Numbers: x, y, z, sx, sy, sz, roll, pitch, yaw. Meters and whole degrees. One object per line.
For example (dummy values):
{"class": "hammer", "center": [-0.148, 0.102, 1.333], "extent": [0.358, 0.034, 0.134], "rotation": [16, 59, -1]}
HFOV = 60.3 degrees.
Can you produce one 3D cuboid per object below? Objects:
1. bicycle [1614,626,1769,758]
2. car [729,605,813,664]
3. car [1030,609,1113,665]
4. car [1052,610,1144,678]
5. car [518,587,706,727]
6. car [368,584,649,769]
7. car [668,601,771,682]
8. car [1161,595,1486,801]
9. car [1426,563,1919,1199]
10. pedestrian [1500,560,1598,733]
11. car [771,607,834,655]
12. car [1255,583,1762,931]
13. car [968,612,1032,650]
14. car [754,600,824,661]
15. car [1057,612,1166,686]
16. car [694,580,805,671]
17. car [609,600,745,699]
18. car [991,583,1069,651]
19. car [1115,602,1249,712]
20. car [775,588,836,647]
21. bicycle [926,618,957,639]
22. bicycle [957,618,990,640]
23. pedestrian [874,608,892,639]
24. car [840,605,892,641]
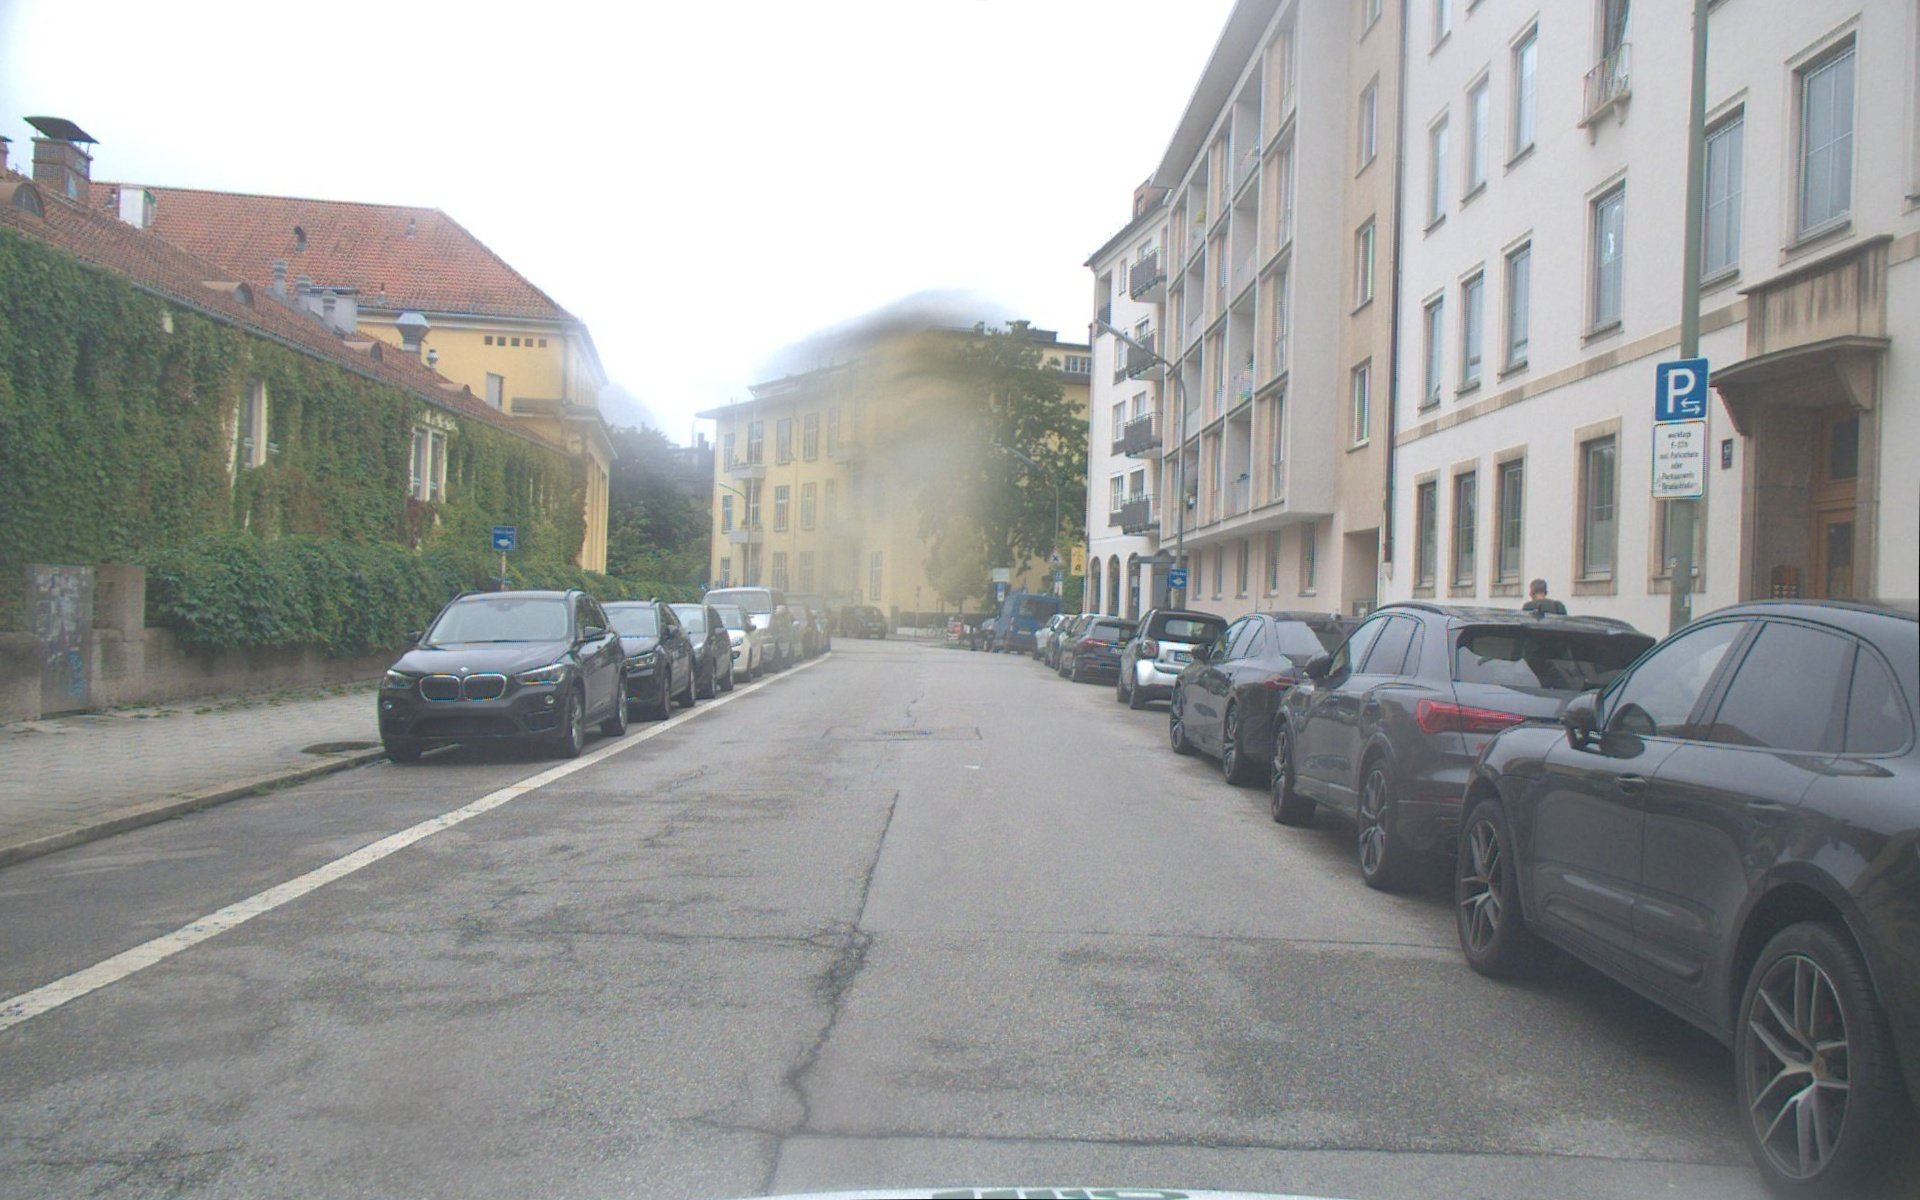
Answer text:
{"class": "bicycle", "center": [7.558, 0.915, 17.190], "extent": [0.503, 1.243, 1.985], "rotation": [1, 0, -7]}
{"class": "car", "center": [-4.907, 0.871, 43.412], "extent": [1.619, 1.439, 4.770], "rotation": [-2, 0, 0]}
{"class": "car", "center": [3.473, 1.132, 52.249], "extent": [1.751, 1.560, 4.642], "rotation": [5, -1, -6]}
{"class": "car", "center": [3.436, 1.075, 41.885], "extent": [1.660, 1.515, 4.578], "rotation": [4, 0, -2]}
{"class": "car", "center": [-4.517, 0.697, 22.090], "extent": [1.689, 1.658, 4.464], "rotation": [-1, 0, -2]}
{"class": "car", "center": [-4.497, 0.692, 17.233], "extent": [1.753, 1.614, 4.816], "rotation": [-1, 0, -2]}
{"class": "car", "center": [-4.648, 0.778, 32.416], "extent": [1.559, 1.466, 4.017], "rotation": [-1, 0, -2]}
{"class": "car", "center": [3.222, 0.794, 15.842], "extent": [1.766, 1.510, 5.318], "rotation": [4, 0, -1]}
{"class": "car", "center": [3.135, 0.748, 5.591], "extent": [1.802, 1.548, 4.709], "rotation": [3, 0, 1]}
{"class": "pedestrian", "center": [6.332, 0.504, 17.809], "extent": [0.708, 1.794, 0.904], "rotation": [2, -3, 0]}
{"class": "car", "center": [-5.060, 0.968, 53.474], "extent": [1.660, 1.417, 4.499], "rotation": [-3, 0, -2]}
{"class": "car", "center": [3.157, 0.797, 10.587], "extent": [1.612, 1.617, 4.634], "rotation": [4, 0, 0]}
{"class": "car", "center": [1.643, 1.283, 70.058], "extent": [1.648, 1.413, 4.292], "rotation": [6, -1, -12]}
{"class": "car", "center": [-4.922, 0.856, 48.171], "extent": [1.663, 1.672, 4.488], "rotation": [-1, 0, -2]}
{"class": "car", "center": [3.298, 1.035, 36.941], "extent": [1.710, 1.412, 4.951], "rotation": [4, 0, -2]}
{"class": "car", "center": [-4.741, 0.569, 37.872], "extent": [1.848, 1.923, 4.774], "rotation": [-1, -1, 1]}
{"class": "car", "center": [-4.554, 0.771, 27.163], "extent": [1.571, 1.455, 4.250], "rotation": [-2, 0, -2]}
{"class": "car", "center": [2.662, 0.715, 63.933], "extent": [2.040, 2.272, 5.236], "rotation": [6, -3, -6]}
{"class": "car", "center": [3.453, 0.865, 26.149], "extent": [1.616, 1.521, 2.880], "rotation": [4, 0, 0]}
{"class": "car", "center": [-5.492, 0.629, 58.721], "extent": [2.033, 1.998, 5.342], "rotation": [0, -1, -6]}
{"class": "bicycle", "center": [-1.116, 1.754, 101.371], "extent": [1.890, 1.222, 0.593], "rotation": [2, -1, 37]}
{"class": "bicycle", "center": [0.820, 1.747, 100.193], "extent": [1.881, 1.222, 0.596], "rotation": [2, -1, 13]}
{"class": "pedestrian", "center": [-4.693, 1.403, 100.584], "extent": [0.862, 1.855, 0.793], "rotation": [2, -1, -21]}
{"class": "car", "center": [-5.741, 1.393, 100.362], "extent": [1.738, 1.906, 4.350], "rotation": [6, -2, -22]}
